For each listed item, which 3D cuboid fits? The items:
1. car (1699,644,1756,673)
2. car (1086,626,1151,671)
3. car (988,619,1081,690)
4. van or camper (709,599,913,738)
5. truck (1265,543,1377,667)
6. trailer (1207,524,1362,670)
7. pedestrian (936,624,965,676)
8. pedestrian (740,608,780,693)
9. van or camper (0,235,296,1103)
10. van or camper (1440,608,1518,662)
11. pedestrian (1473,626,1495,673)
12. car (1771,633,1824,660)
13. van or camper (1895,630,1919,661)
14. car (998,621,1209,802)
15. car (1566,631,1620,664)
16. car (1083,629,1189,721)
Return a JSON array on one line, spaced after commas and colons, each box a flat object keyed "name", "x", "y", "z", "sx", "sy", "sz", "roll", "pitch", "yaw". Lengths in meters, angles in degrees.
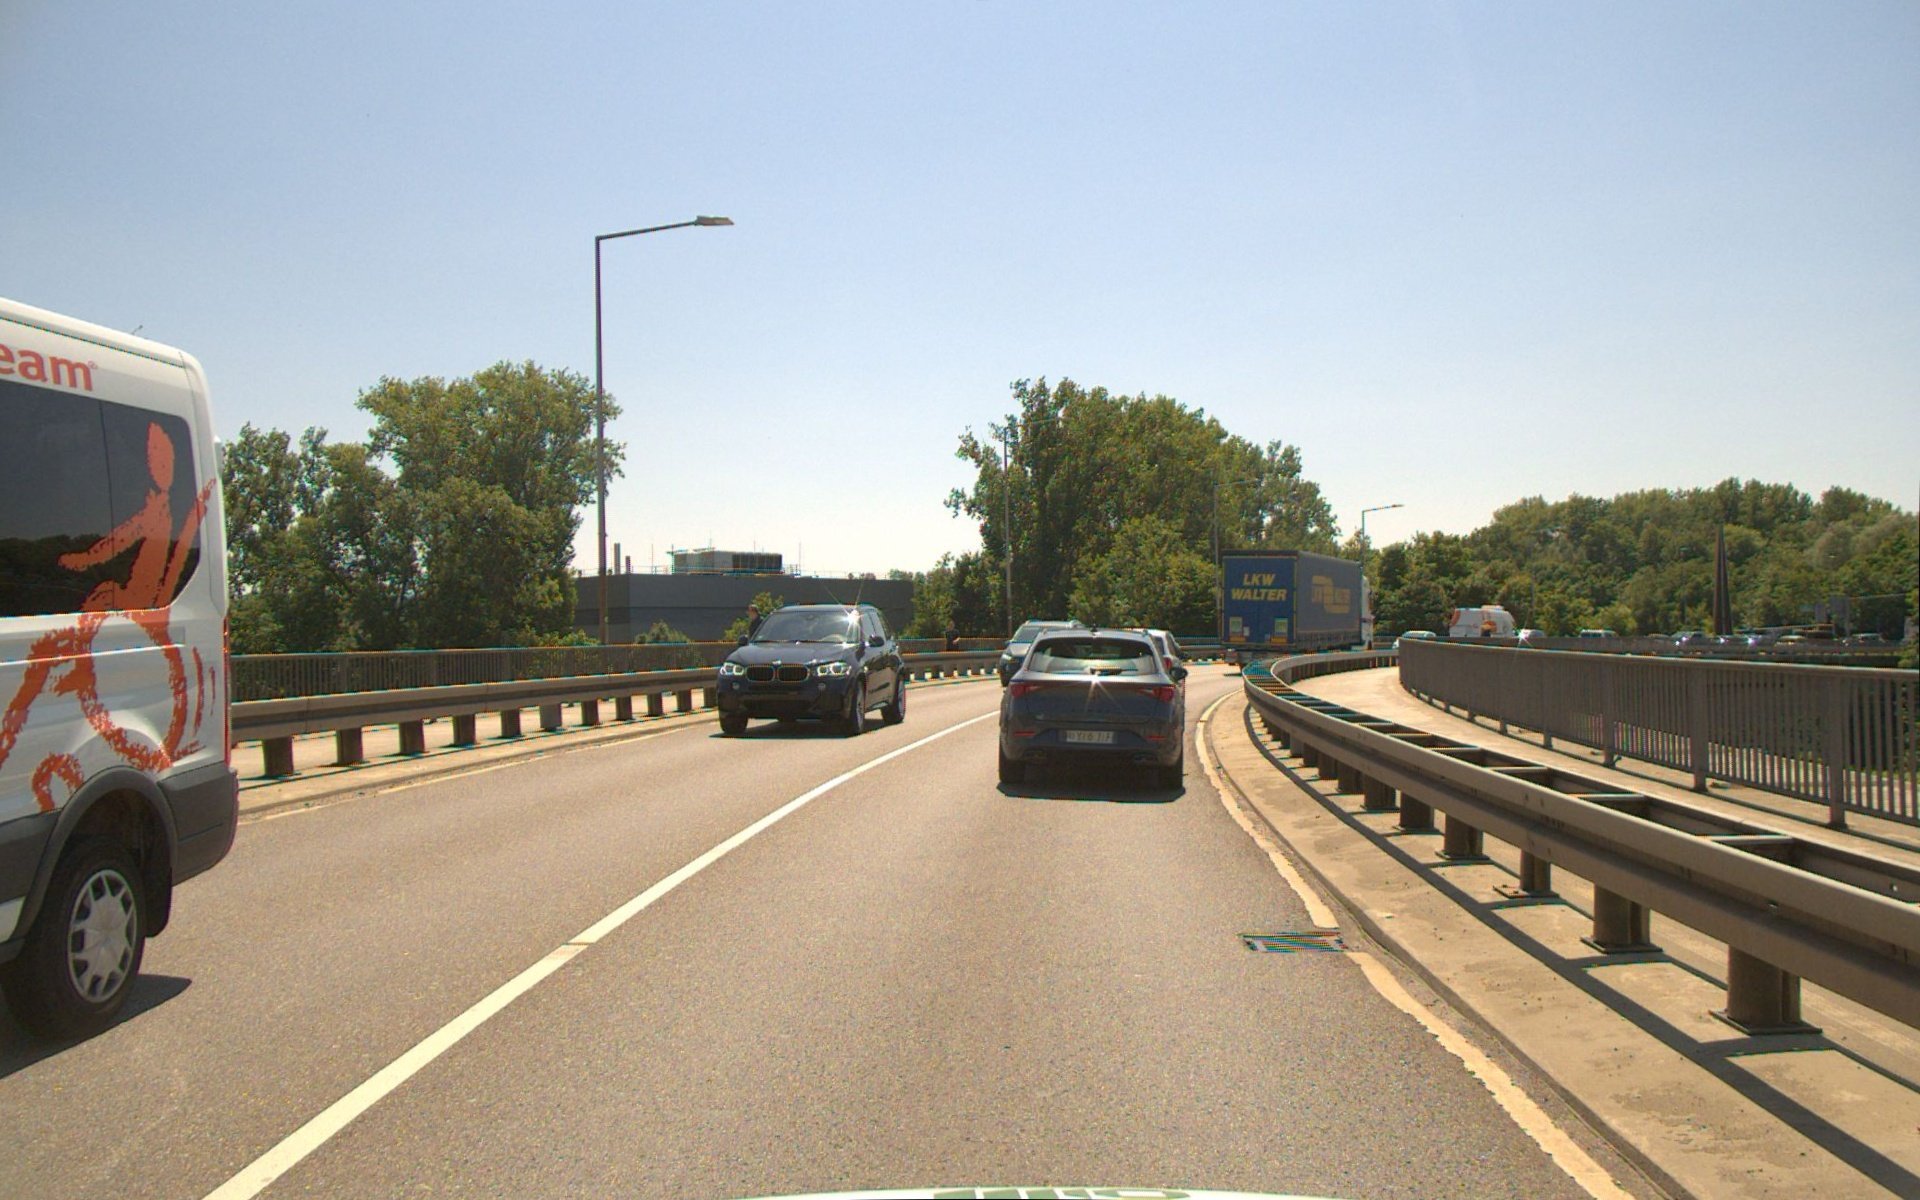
[{"name": "car", "x": 52.550, "y": 4.025, "z": 113.235, "sx": 3.956, "sy": 1.882, "sz": 1.870, "roll": 3, "pitch": -2, "yaw": -37}, {"name": "car", "x": 5.353, "y": 1.641, "z": 55.626, "sx": 1.751, "sy": 1.444, "sz": 3.776, "roll": -1, "pitch": -2, "yaw": 12}, {"name": "car", "x": 1.912, "y": 1.371, "z": 41.243, "sx": 1.855, "sy": 1.684, "sz": 4.260, "roll": 0, "pitch": -2, "yaw": 9}, {"name": "van or camper", "x": -2.000, "y": 0.956, "z": 23.723, "sx": 1.951, "sy": 1.792, "sz": 4.701, "roll": 0, "pitch": -2, "yaw": 7}, {"name": "truck", "x": 14.617, "y": 0.299, "z": 66.474, "sx": 3.105, "sy": 4.666, "sz": 7.394, "roll": 1, "pitch": -2, "yaw": 22}, {"name": "trailer", "x": 12.005, "y": 0.076, "z": 59.876, "sx": 3.070, "sy": 4.695, "sz": 12.945, "roll": 1, "pitch": -1, "yaw": 22}, {"name": "pedestrian", "x": -0.298, "y": 1.536, "z": 50.894, "sx": 0.699, "sy": 1.589, "sz": 0.695, "roll": -1, "pitch": -2, "yaw": 17}, {"name": "pedestrian", "x": -4.339, "y": 1.088, "z": 35.944, "sx": 0.624, "sy": 1.814, "sz": 0.812, "roll": 1, "pitch": -2, "yaw": 9}, {"name": "van or camper", "x": -3.886, "y": 0.190, "z": 3.993, "sx": 2.005, "sy": 2.582, "sz": 5.884, "roll": 0, "pitch": -1, "yaw": 2}, {"name": "van or camper", "x": 27.412, "y": 1.845, "z": 87.261, "sx": 2.166, "sy": 2.759, "sz": 5.903, "roll": 0, "pitch": -1, "yaw": 36}, {"name": "pedestrian", "x": 22.609, "y": 2.142, "z": 71.360, "sx": 0.723, "sy": 2.002, "sz": 0.733, "roll": 0, "pitch": -2, "yaw": 31}, {"name": "car", "x": 60.491, "y": 3.361, "z": 119.436, "sx": 3.956, "sy": 1.882, "sz": 1.870, "roll": 3, "pitch": -2, "yaw": -36}, {"name": "van or camper", "x": 79.667, "y": 3.919, "z": 136.031, "sx": 4.887, "sy": 2.331, "sz": 2.471, "roll": 6, "pitch": 1, "yaw": -28}, {"name": "car", "x": 1.293, "y": 0.986, "z": 16.168, "sx": 1.807, "sy": 1.525, "sz": 3.758, "roll": 1, "pitch": -1, "yaw": 2}, {"name": "car", "x": 38.140, "y": 2.848, "z": 99.581, "sx": 1.860, "sy": 1.882, "sz": 3.978, "roll": 0, "pitch": -2, "yaw": 40}, {"name": "car", "x": 3.180, "y": 1.292, "z": 29.397, "sx": 1.559, "sy": 1.487, "sz": 3.547, "roll": 2, "pitch": -1, "yaw": 11}]
